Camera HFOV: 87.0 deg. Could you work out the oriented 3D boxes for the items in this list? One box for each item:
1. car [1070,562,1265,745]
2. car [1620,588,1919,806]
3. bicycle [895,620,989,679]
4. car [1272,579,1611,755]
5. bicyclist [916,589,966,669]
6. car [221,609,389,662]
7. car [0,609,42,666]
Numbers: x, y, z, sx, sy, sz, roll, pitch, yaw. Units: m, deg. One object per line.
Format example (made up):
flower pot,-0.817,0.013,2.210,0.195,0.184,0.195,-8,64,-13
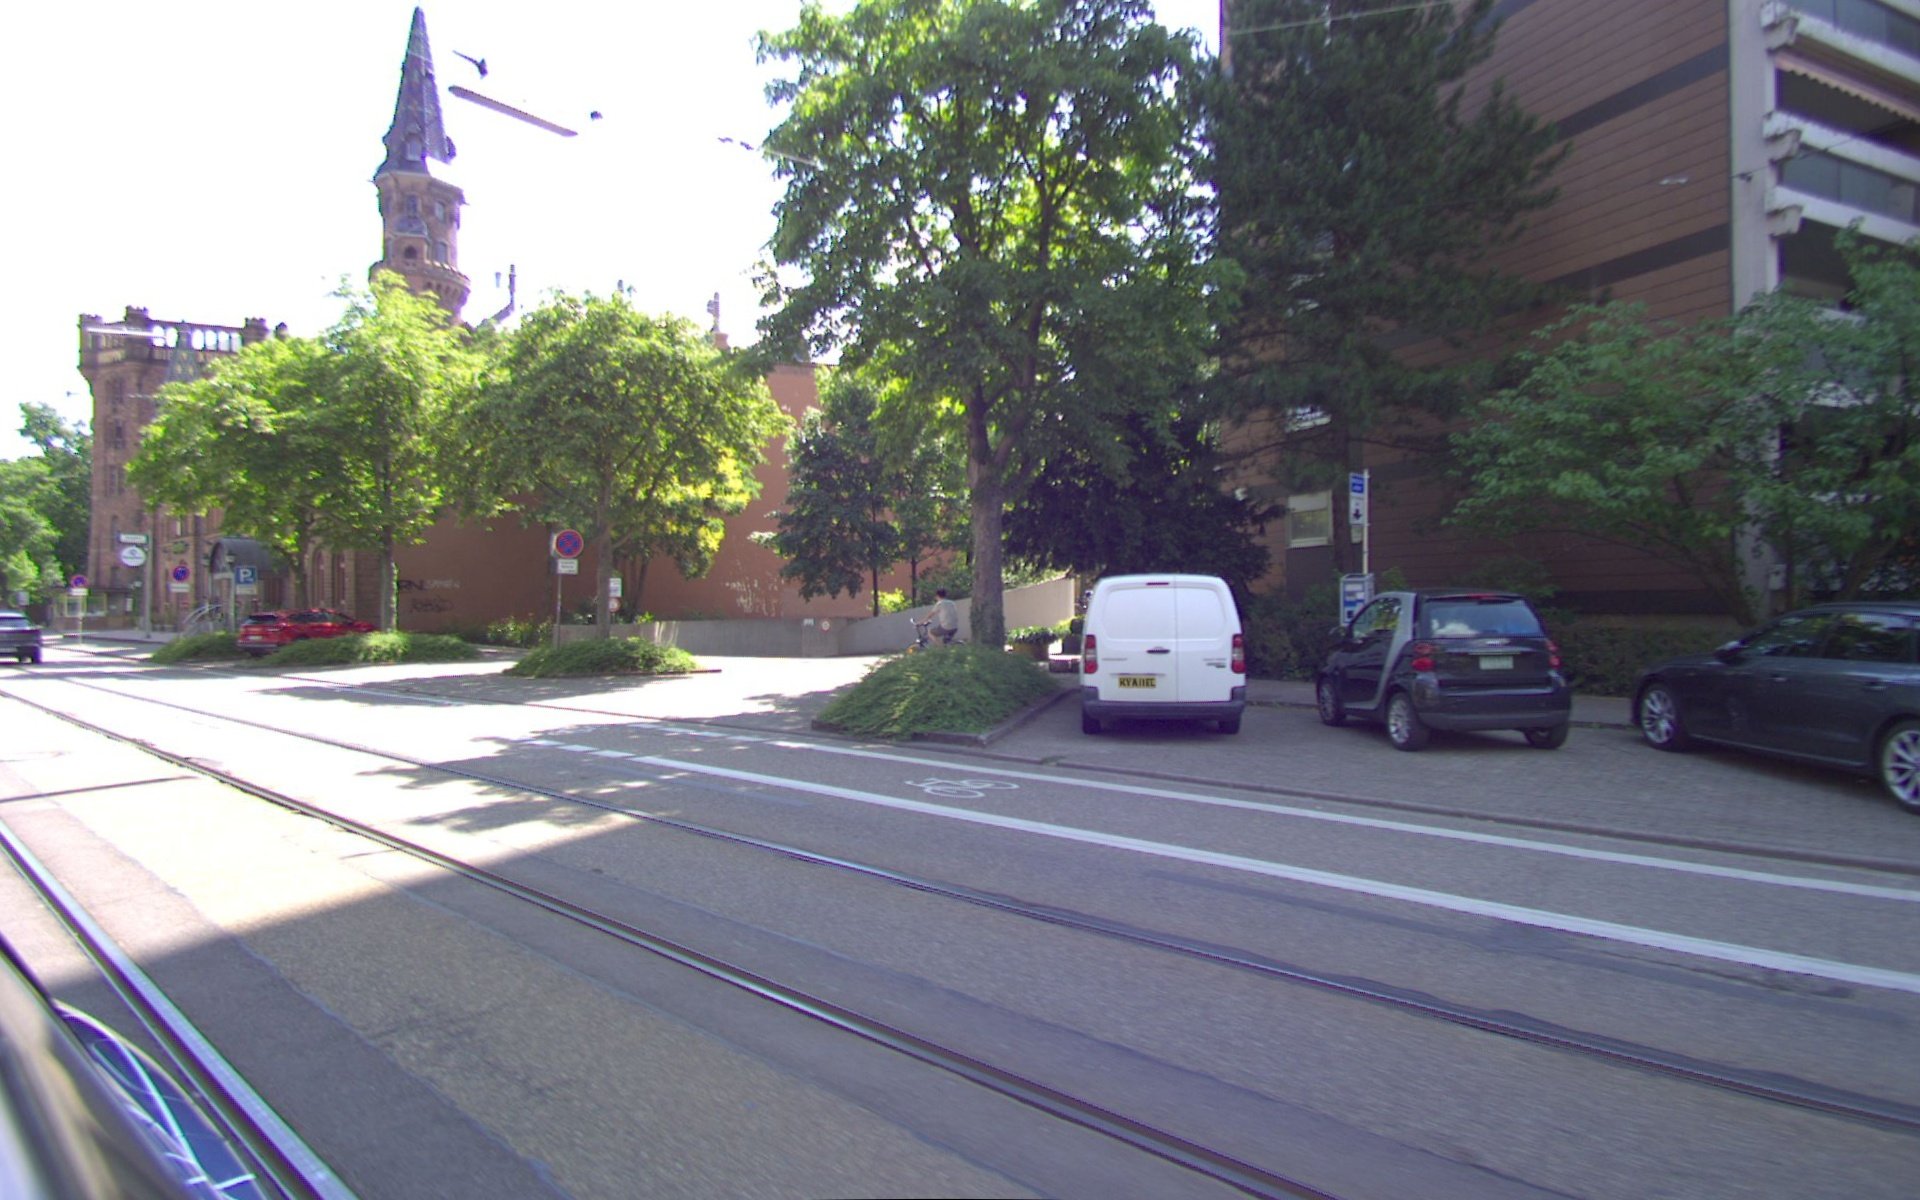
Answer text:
car,2.398,0.525,12.447,1.879,1.804,4.537,-2,0,8
car,7.294,0.637,7.662,1.749,1.405,4.445,-2,0,2
bicycle,-0.354,0.920,19.252,1.874,1.054,0.513,-1,0,39
car,4.979,0.595,11.159,1.747,1.544,3.951,-2,0,-1
bicyclist,-0.365,0.543,19.258,0.780,1.492,0.476,-1,0,39
car,-21.955,1.146,34.183,1.981,1.578,4.762,-1,0,12
car,-29.846,1.135,31.214,4.182,1.693,1.812,-1,-1,41
